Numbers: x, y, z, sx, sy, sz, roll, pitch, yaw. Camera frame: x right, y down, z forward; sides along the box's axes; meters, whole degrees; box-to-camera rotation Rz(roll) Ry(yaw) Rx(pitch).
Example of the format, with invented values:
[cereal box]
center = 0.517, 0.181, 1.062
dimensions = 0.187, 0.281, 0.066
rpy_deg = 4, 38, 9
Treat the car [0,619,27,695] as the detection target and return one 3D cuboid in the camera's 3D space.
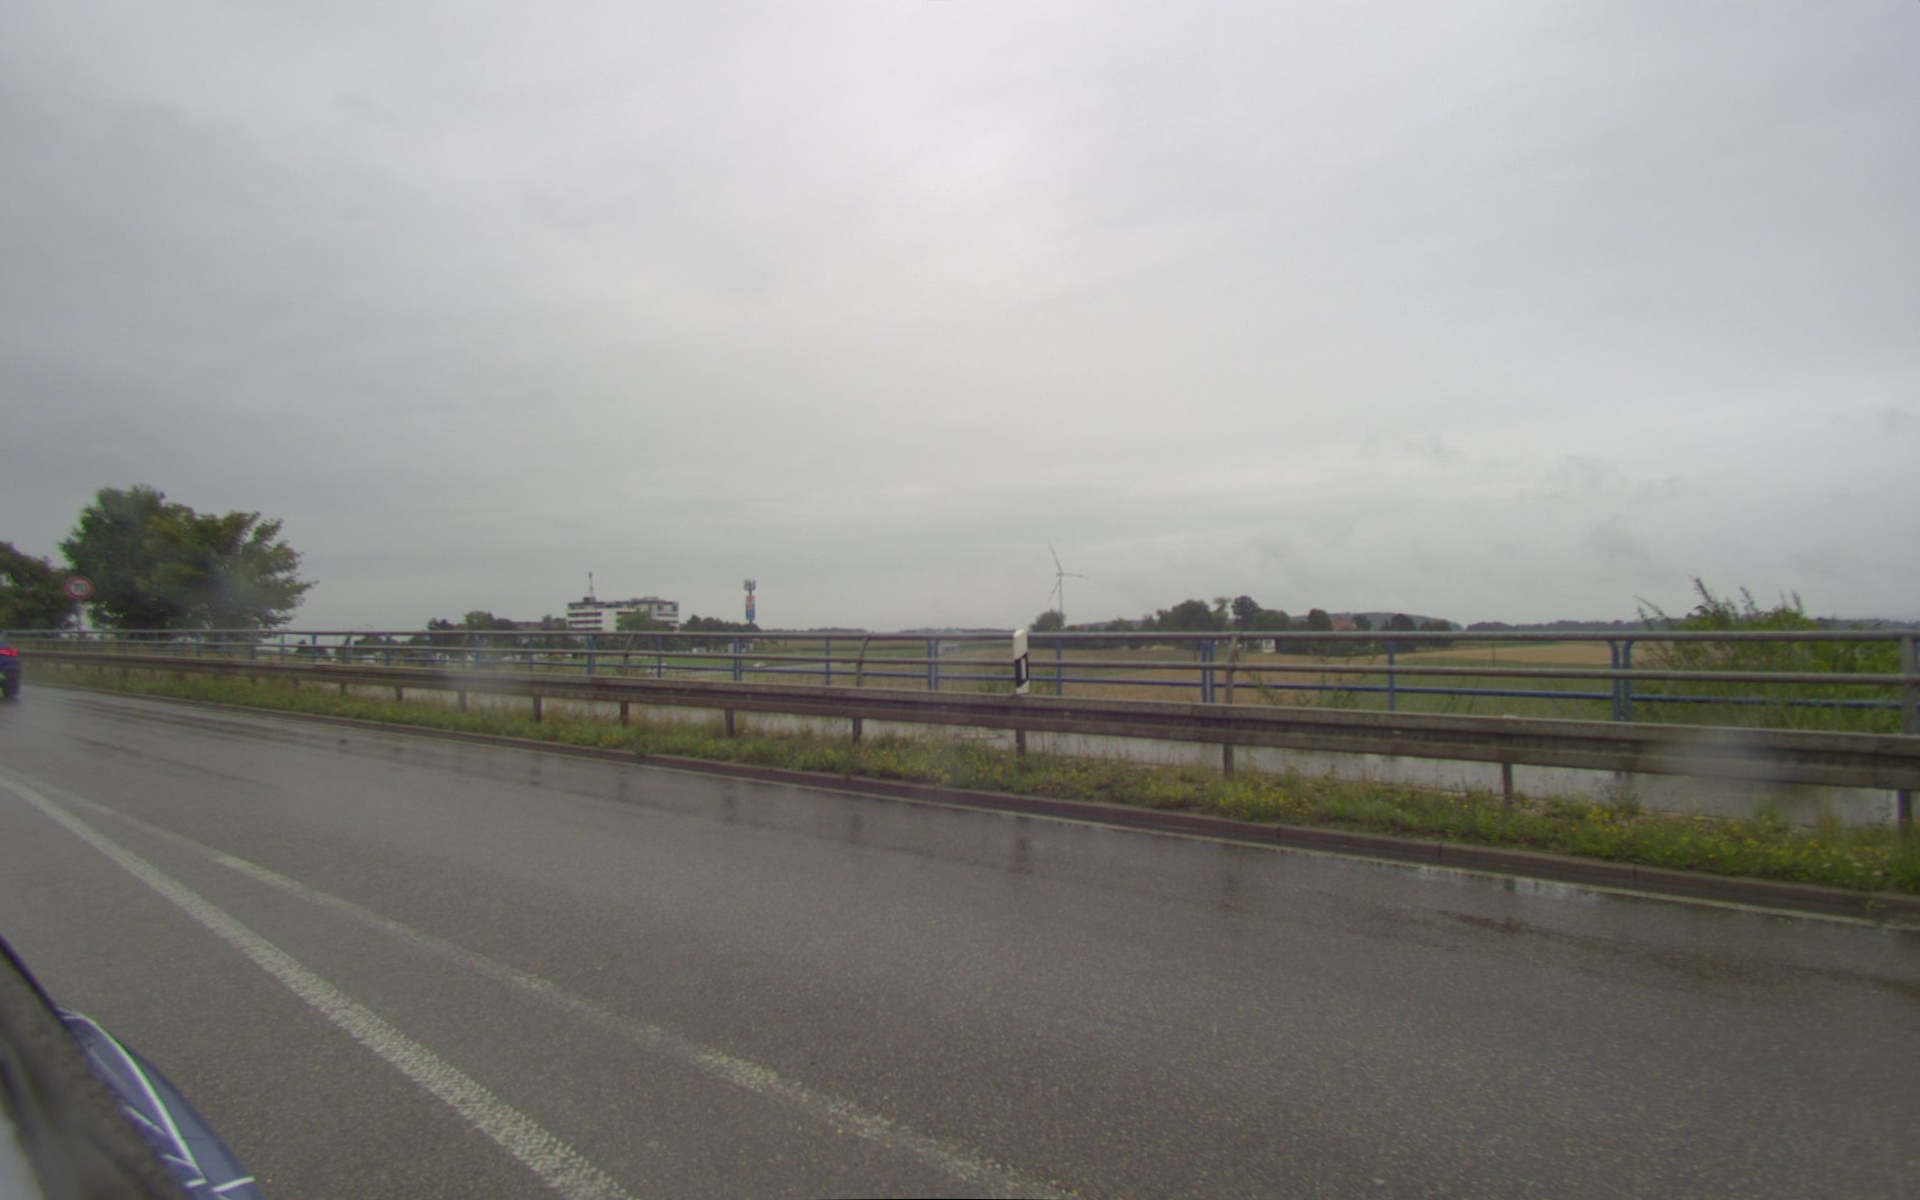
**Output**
[car]
center = -21.335, 1.172, 21.322
dimensions = 4.162, 1.537, 1.764
rpy_deg = -1, -2, 37
